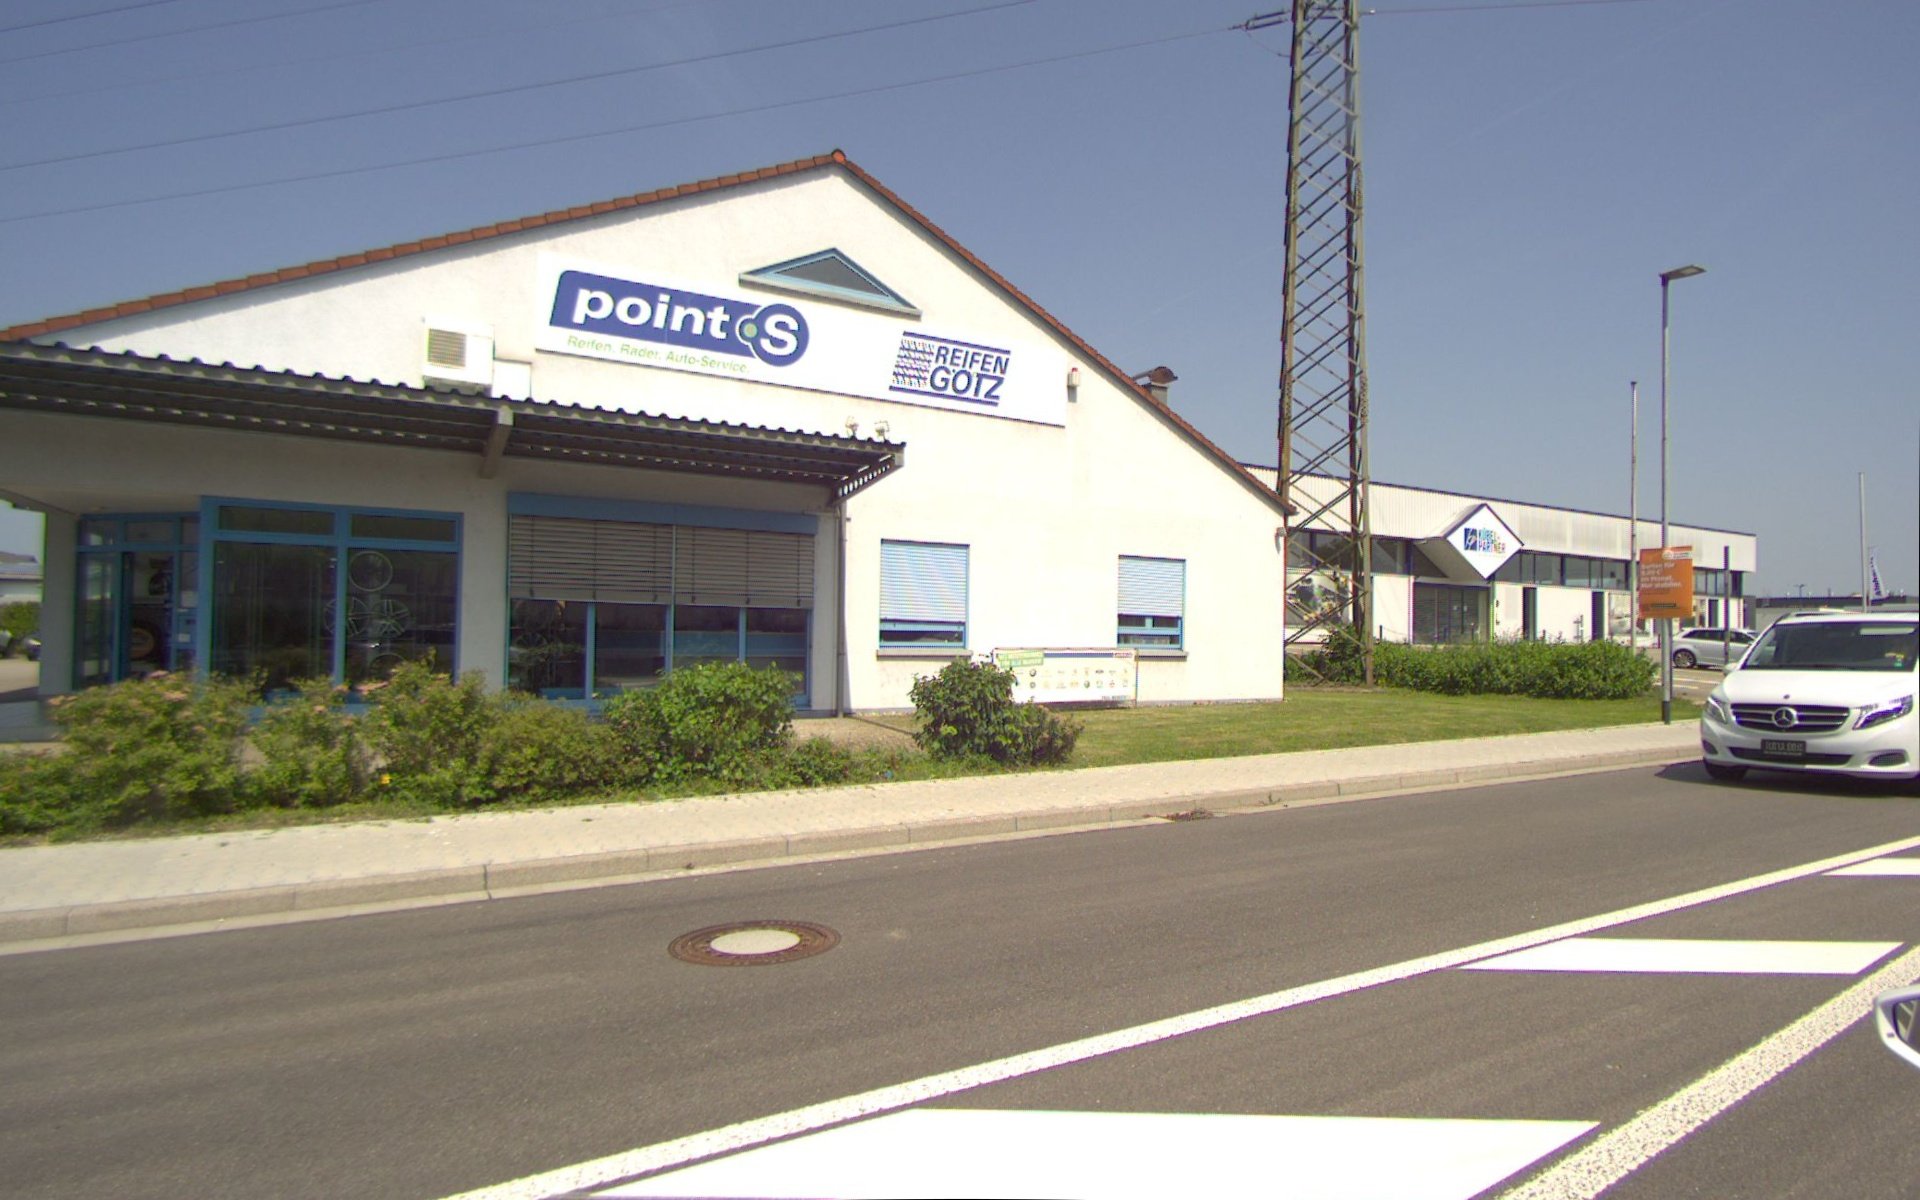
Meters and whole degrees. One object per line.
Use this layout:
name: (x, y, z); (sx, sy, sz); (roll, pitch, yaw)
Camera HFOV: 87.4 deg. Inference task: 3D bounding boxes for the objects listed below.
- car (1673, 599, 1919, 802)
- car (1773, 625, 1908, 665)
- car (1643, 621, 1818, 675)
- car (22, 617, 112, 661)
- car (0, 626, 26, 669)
car: (10.551, 1.048, 11.642); (5.114, 1.898, 1.982); (2, -3, -33)
car: (32.846, 1.654, 37.540); (1.487, 1.271, 3.491); (1, 1, -31)
car: (25.178, 1.525, 32.981); (1.744, 1.475, 4.202); (1, 1, -31)
car: (-31.871, 1.391, 35.963); (1.765, 1.467, 3.965); (1, -2, -32)
car: (-34.027, 1.634, 34.741); (1.765, 1.467, 3.965); (1, -2, -32)
